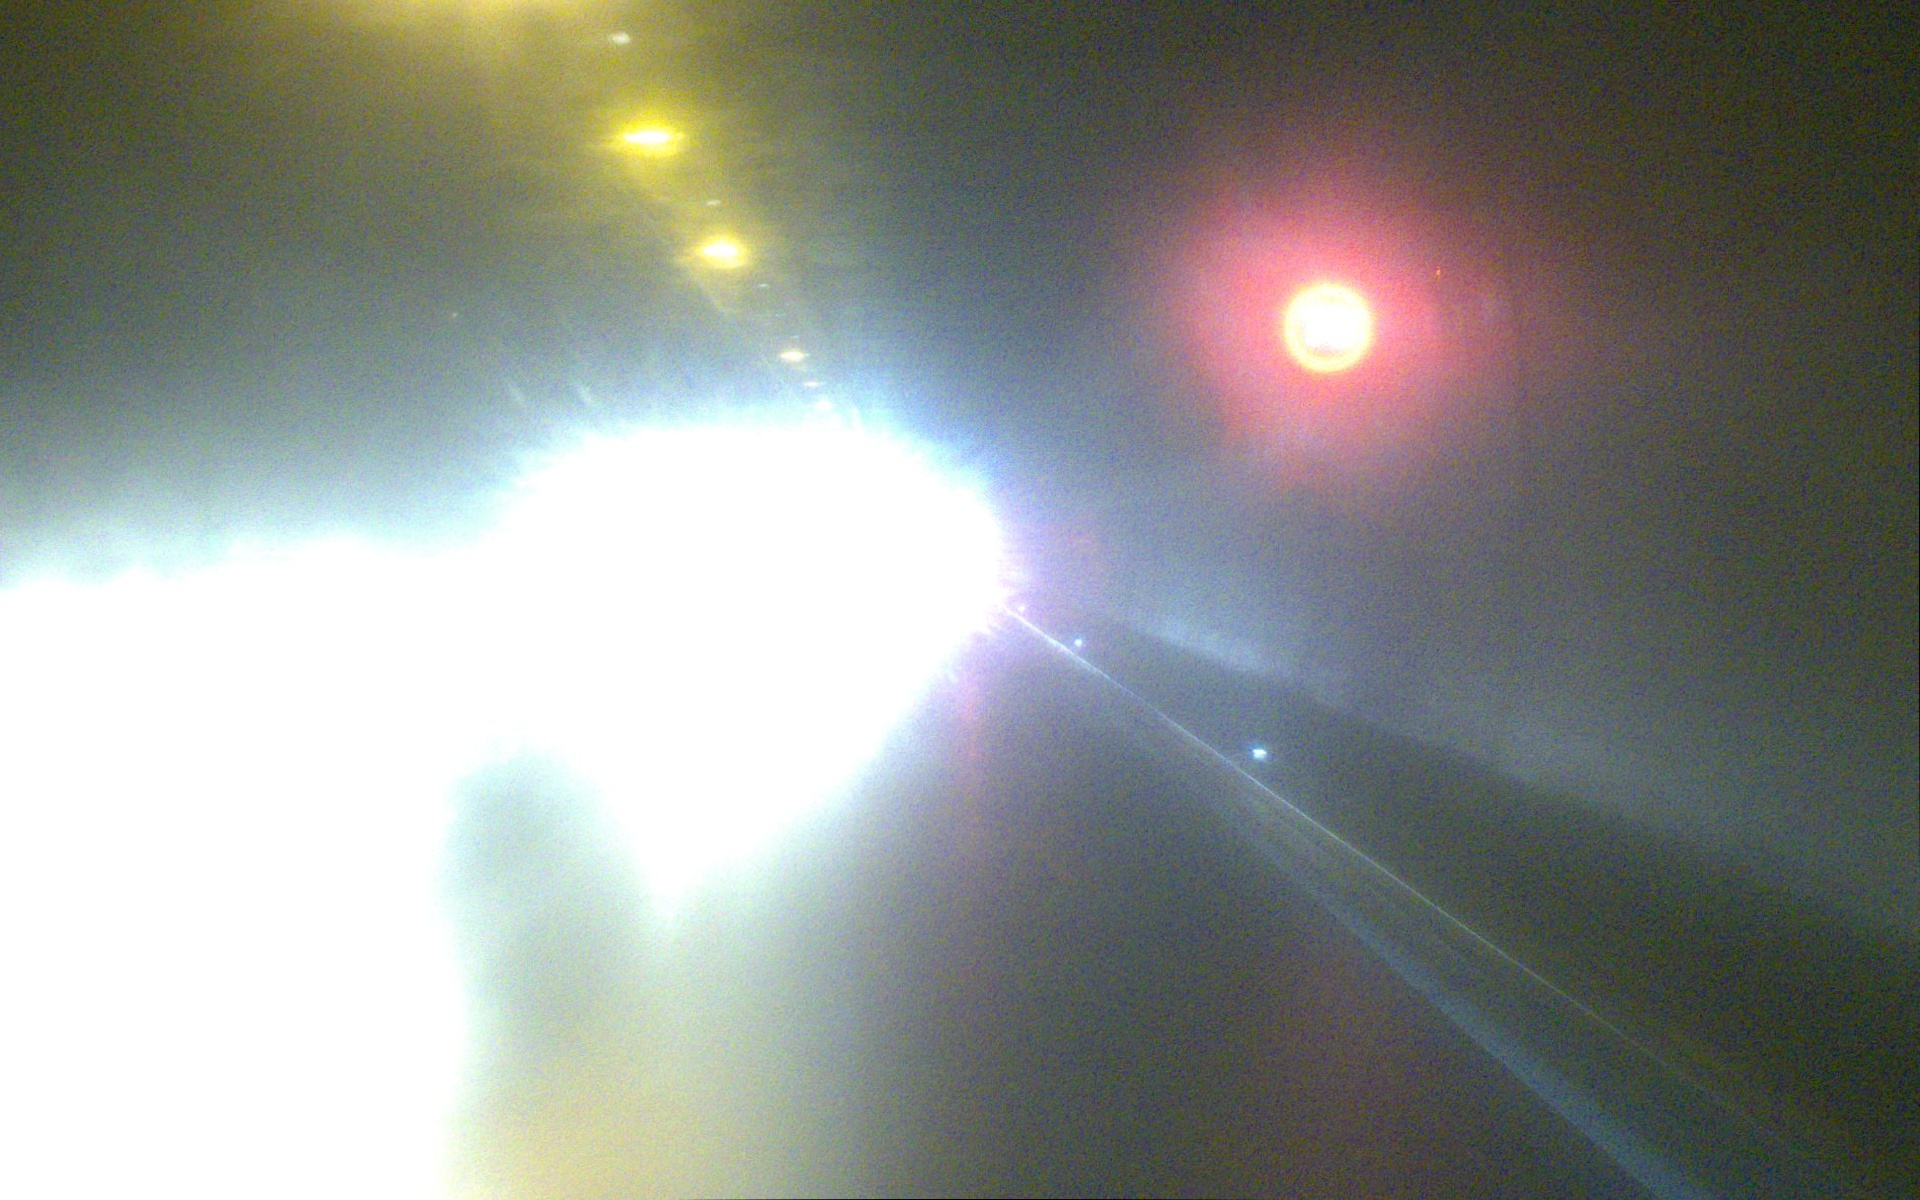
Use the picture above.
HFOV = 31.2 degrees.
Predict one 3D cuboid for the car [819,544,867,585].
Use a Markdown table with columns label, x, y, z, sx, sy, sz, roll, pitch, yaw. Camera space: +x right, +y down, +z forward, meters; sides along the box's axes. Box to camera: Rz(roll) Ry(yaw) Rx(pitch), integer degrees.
| label | x | y | z | sx | sy | sz | roll | pitch | yaw |
| --- | --- | --- | --- | --- | --- | --- | --- | --- | --- |
| car | -4.995 | -1.520 | 147.025 | 1.993 | 1.704 | 4.281 | 1 | 1 | -1 |

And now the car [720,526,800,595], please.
| label | x | y | z | sx | sy | sz | roll | pitch | yaw |
| --- | --- | --- | --- | --- | --- | --- | --- | --- | --- |
| car | -4.674 | -0.941 | 80.712 | 1.701 | 1.550 | 3.873 | 1 | 1 | -1 |

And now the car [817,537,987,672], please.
| label | x | y | z | sx | sy | sz | roll | pitch | yaw |
| --- | --- | --- | --- | --- | --- | --- | --- | --- | --- |
| car | -0.762 | 0.031 | 44.501 | 2.089 | 1.656 | 4.000 | 0 | 1 | -1 |

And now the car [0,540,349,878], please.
| label | x | y | z | sx | sy | sz | roll | pitch | yaw |
| --- | --- | --- | --- | --- | --- | --- | --- | --- | --- |
| car | -4.118 | 0.443 | 16.666 | 1.710 | 1.457 | 3.575 | 0 | 1 | -1 |

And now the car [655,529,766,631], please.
| label | x | y | z | sx | sy | sz | roll | pitch | yaw |
| --- | --- | --- | --- | --- | --- | --- | --- | --- | --- |
| car | -4.385 | -0.378 | 60.784 | 1.669 | 1.641 | 3.907 | -2 | 2 | -1 |
